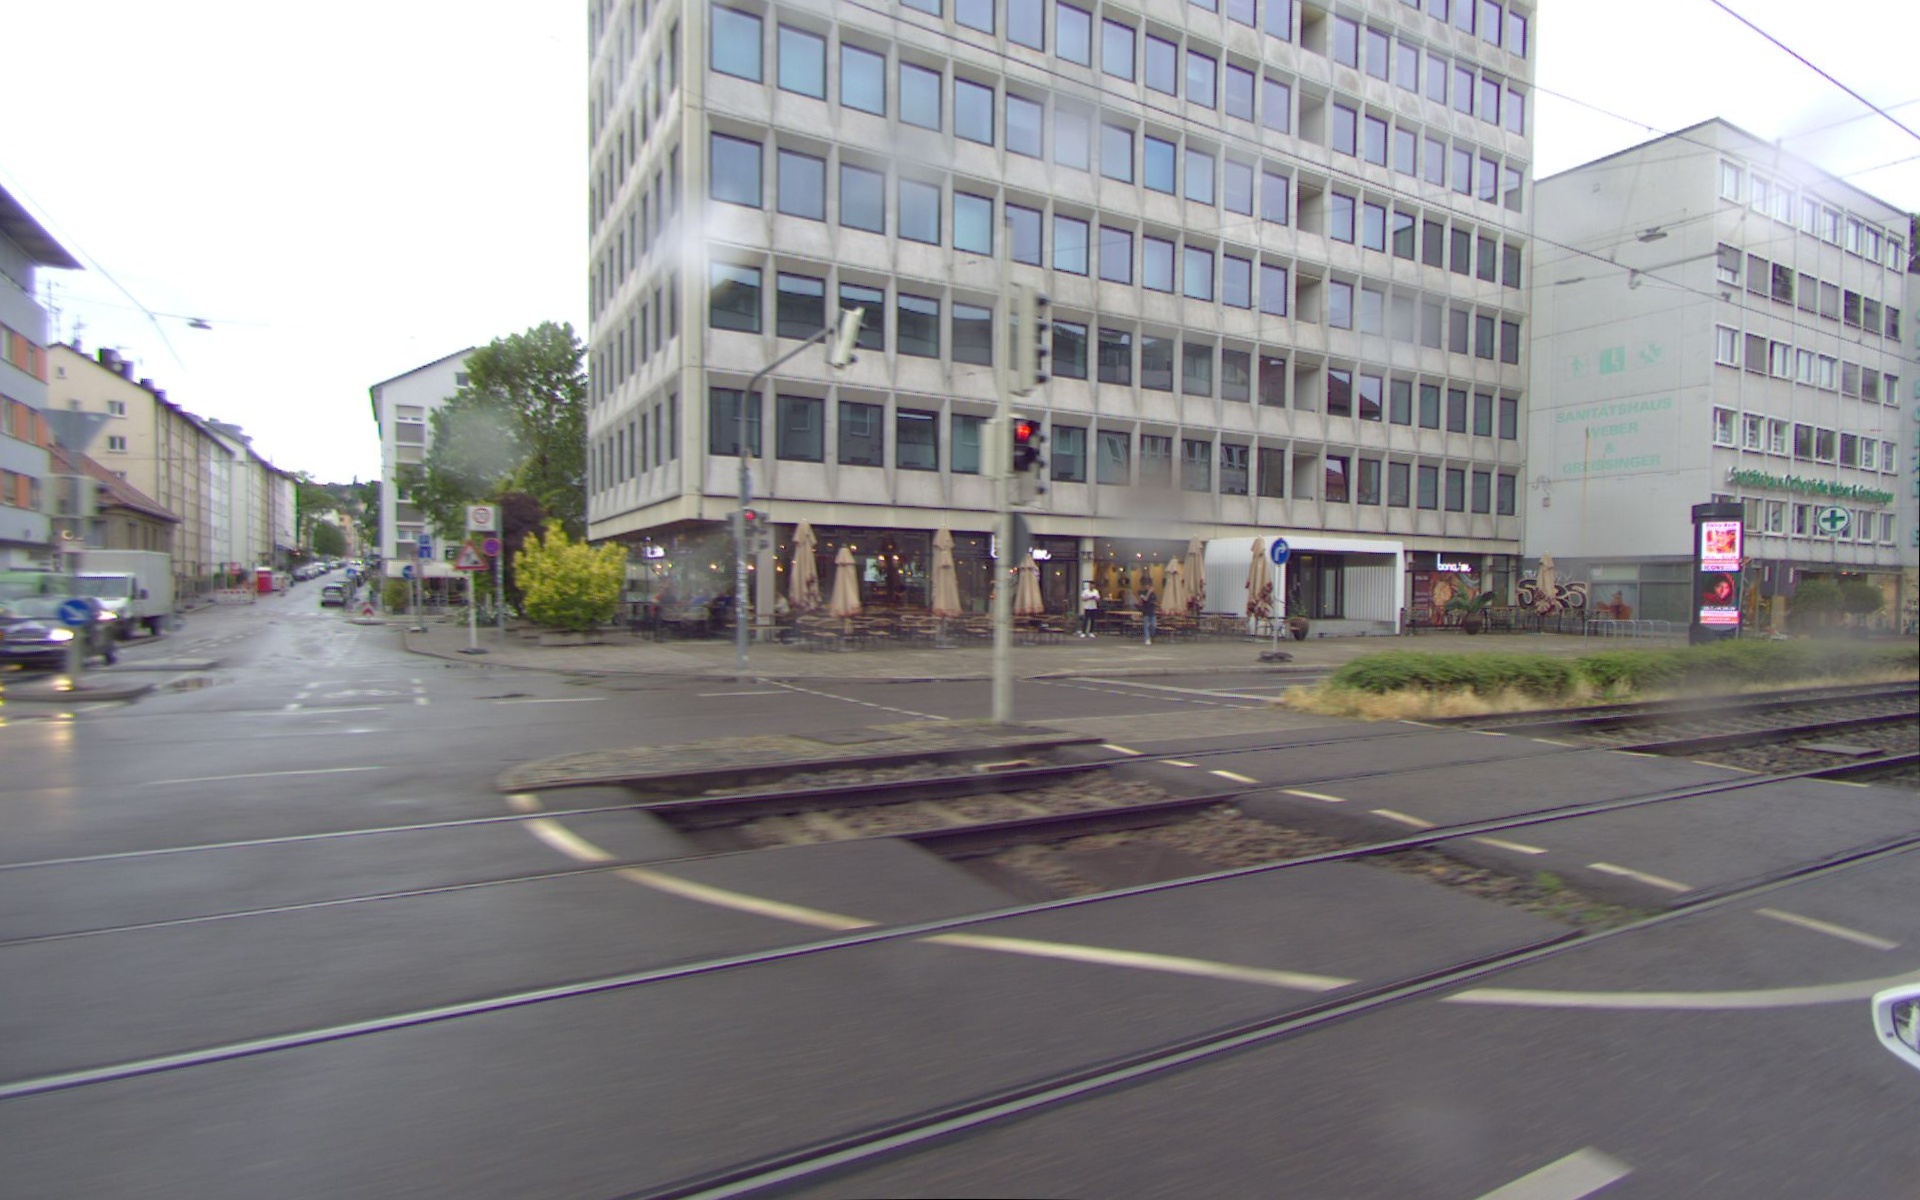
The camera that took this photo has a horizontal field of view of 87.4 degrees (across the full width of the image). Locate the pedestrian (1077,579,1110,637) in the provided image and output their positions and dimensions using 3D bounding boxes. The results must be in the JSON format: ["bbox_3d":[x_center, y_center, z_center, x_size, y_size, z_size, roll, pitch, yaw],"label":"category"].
[{"bbox_3d":[4.118,0.235,31.027,0.836,1.772,0.561,0,1,-34],"label":"pedestrian"}]

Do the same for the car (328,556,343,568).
[{"bbox_3d":[-120.190,-7.338,193.318,1.974,2.040,3.973,2,-1,-26],"label":"car"}]

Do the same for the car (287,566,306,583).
[{"bbox_3d":[-85.617,-3.326,129.696,1.979,2.040,3.963,2,-1,-34],"label":"car"}]

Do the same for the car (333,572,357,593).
[{"bbox_3d":[-56.493,-1.601,92.364,1.761,1.895,3.991,1,1,-30],"label":"car"}]

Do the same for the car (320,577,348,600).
[{"bbox_3d":[-49.880,-0.967,80.072,1.761,1.757,4.131,1,1,-30],"label":"car"}]

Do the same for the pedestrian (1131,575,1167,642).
[{"bbox_3d":[5.298,0.245,28.155,0.836,1.847,0.561,0,1,-34],"label":"pedestrian"}]

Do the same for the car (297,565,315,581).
[{"bbox_3d":[-90.006,-3.681,138.169,1.979,2.040,3.963,2,-1,-34],"label":"car"}]

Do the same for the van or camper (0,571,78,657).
[{"bbox_3d":[-25.221,0.302,26.397,2.072,2.090,5.058,0,1,-30],"label":"van or camper"}]

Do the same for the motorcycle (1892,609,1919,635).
[{"bbox_3d":[45.504,1.049,47.909,0.381,1.196,1.469,0,1,-30],"label":"motorcycle"}]

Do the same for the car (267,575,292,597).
[{"bbox_3d":[-62.947,-1.315,92.965,1.636,2.041,3.457,0,1,-29],"label":"car"}]

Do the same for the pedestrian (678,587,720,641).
[{"bbox_3d":[-7.644,0.400,29.414,0.954,1.553,0.889,0,1,-31],"label":"pedestrian"}]

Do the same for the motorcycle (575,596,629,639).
[{"bbox_3d":[-14.722,0.722,41.375,2.047,1.741,0.876,1,0,-20],"label":"motorcycle"}]

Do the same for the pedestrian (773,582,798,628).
[{"bbox_3d":[-5.121,0.155,29.507,0.546,1.339,0.520,1,1,-29],"label":"pedestrian"}]

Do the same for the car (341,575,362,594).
[{"bbox_3d":[-62.700,-1.591,103.533,1.761,1.895,3.991,1,1,-30],"label":"car"}]

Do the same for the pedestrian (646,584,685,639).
[{"bbox_3d":[-8.481,0.331,28.946,0.886,1.553,0.957,0,1,-29],"label":"pedestrian"}]

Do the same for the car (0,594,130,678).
[{"bbox_3d":[-18.900,0.684,20.963,1.870,1.550,3.965,0,1,-32],"label":"car"}]

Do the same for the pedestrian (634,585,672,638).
[{"bbox_3d":[-9.158,0.339,29.987,0.886,1.553,0.957,0,1,-31],"label":"pedestrian"}]

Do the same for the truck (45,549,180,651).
[{"bbox_3d":[-29.513,-0.053,35.273,2.433,3.206,7.113,0,1,-30],"label":"truck"}]
